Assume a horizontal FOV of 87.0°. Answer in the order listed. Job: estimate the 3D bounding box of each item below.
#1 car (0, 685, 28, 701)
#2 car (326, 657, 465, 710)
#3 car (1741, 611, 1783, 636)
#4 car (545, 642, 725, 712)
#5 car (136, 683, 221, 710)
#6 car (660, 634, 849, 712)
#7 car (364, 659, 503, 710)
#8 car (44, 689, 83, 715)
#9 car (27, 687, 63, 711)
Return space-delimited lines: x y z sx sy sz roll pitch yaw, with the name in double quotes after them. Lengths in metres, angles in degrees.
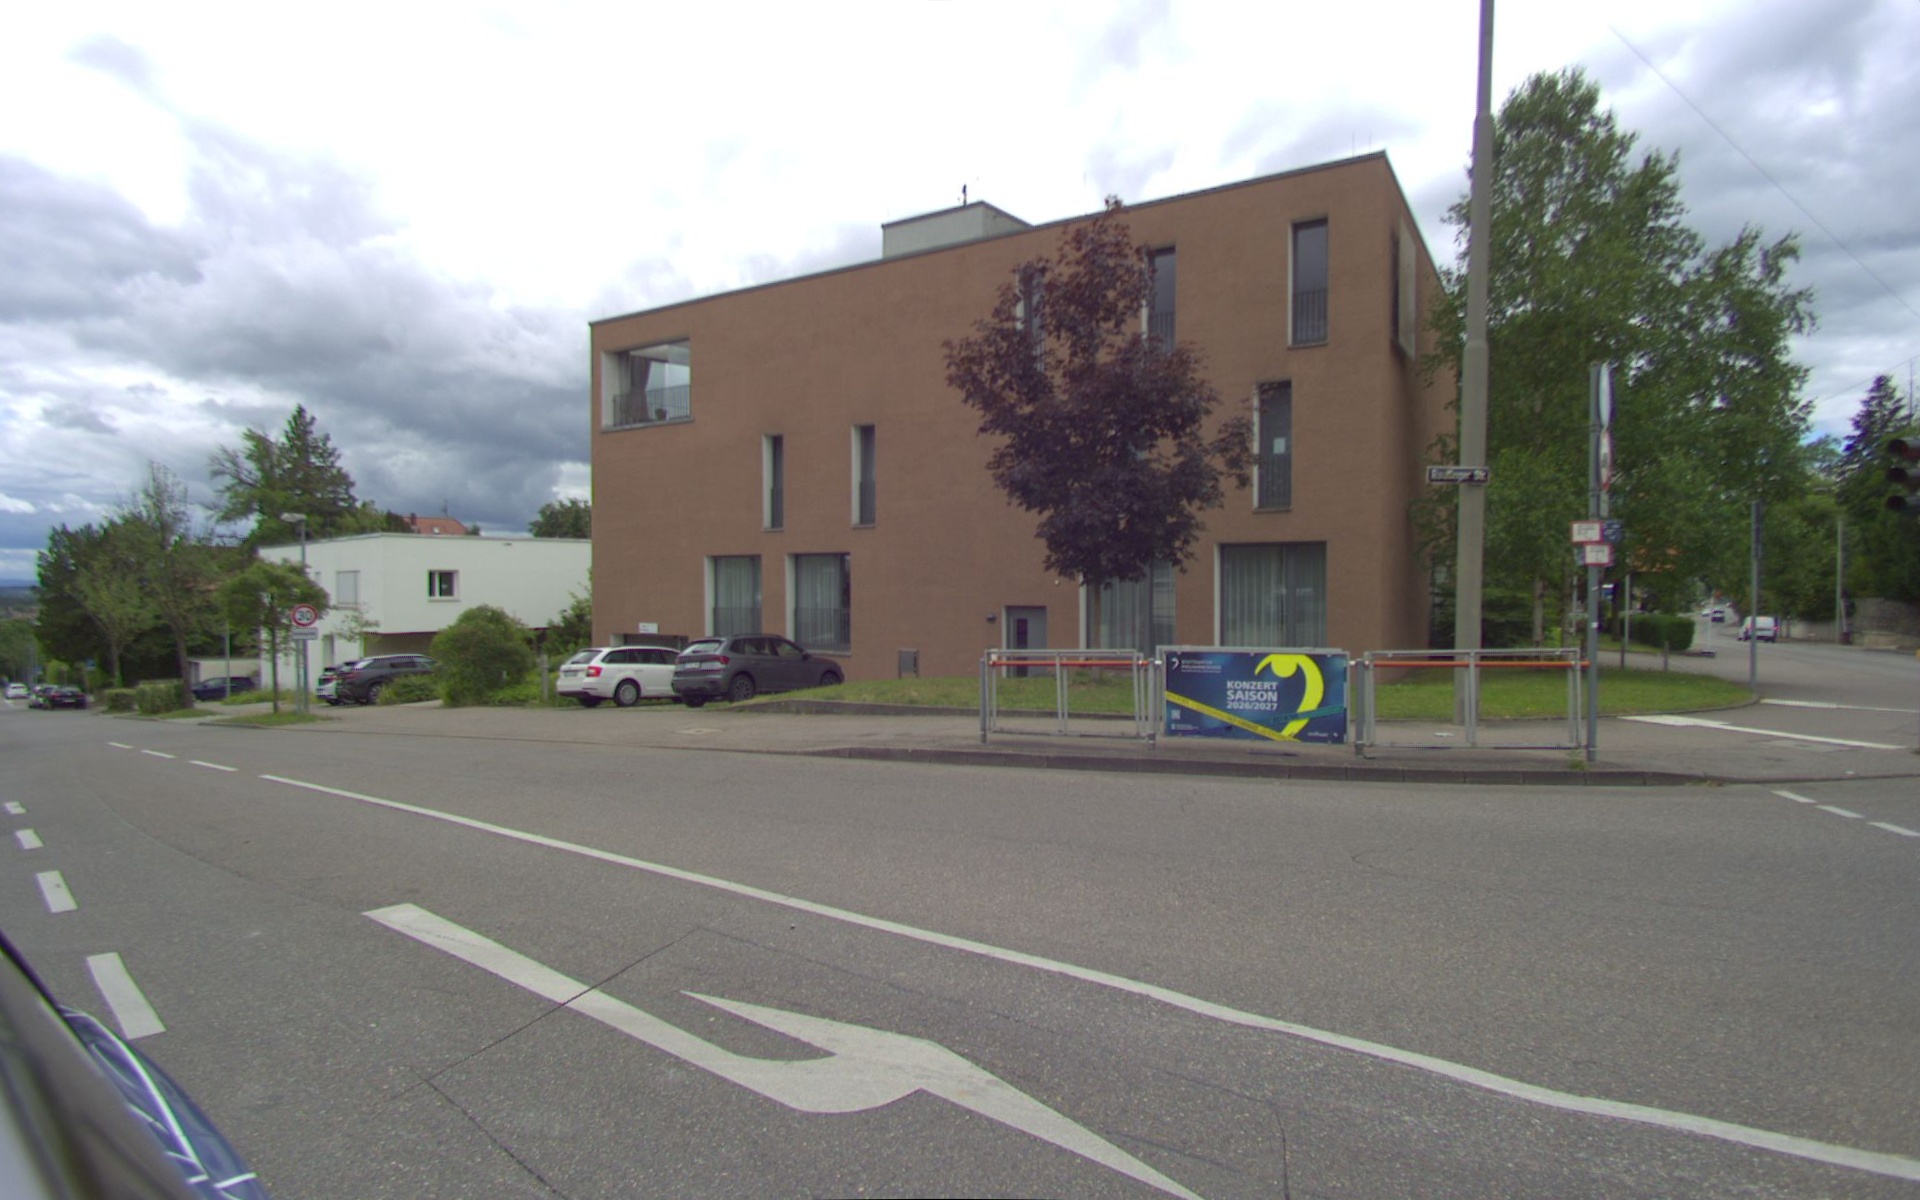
-95.919 9.364 102.245 4.362 1.432 1.861 -3 -3 38 "car"
-19.945 2.941 35.879 1.793 1.608 3.943 -6 -4 43 "car"
57.688 1.679 72.841 1.807 1.724 3.993 -1 -2 31 "car"
-7.961 1.870 25.076 1.724 1.497 3.950 -5 -4 37 "car"
-46.958 5.775 60.861 3.939 1.296 1.665 0 -4 -43 "car"
-4.474 1.581 22.486 1.724 1.497 3.950 -5 -4 37 "car"
-18.202 2.898 35.096 1.727 1.497 3.943 -6 -4 43 "car"
-54.921 6.210 61.989 1.638 1.432 4.003 0 -4 -44 "car"
-61.548 6.673 68.063 1.638 1.432 4.371 0 -4 -44 "car"
